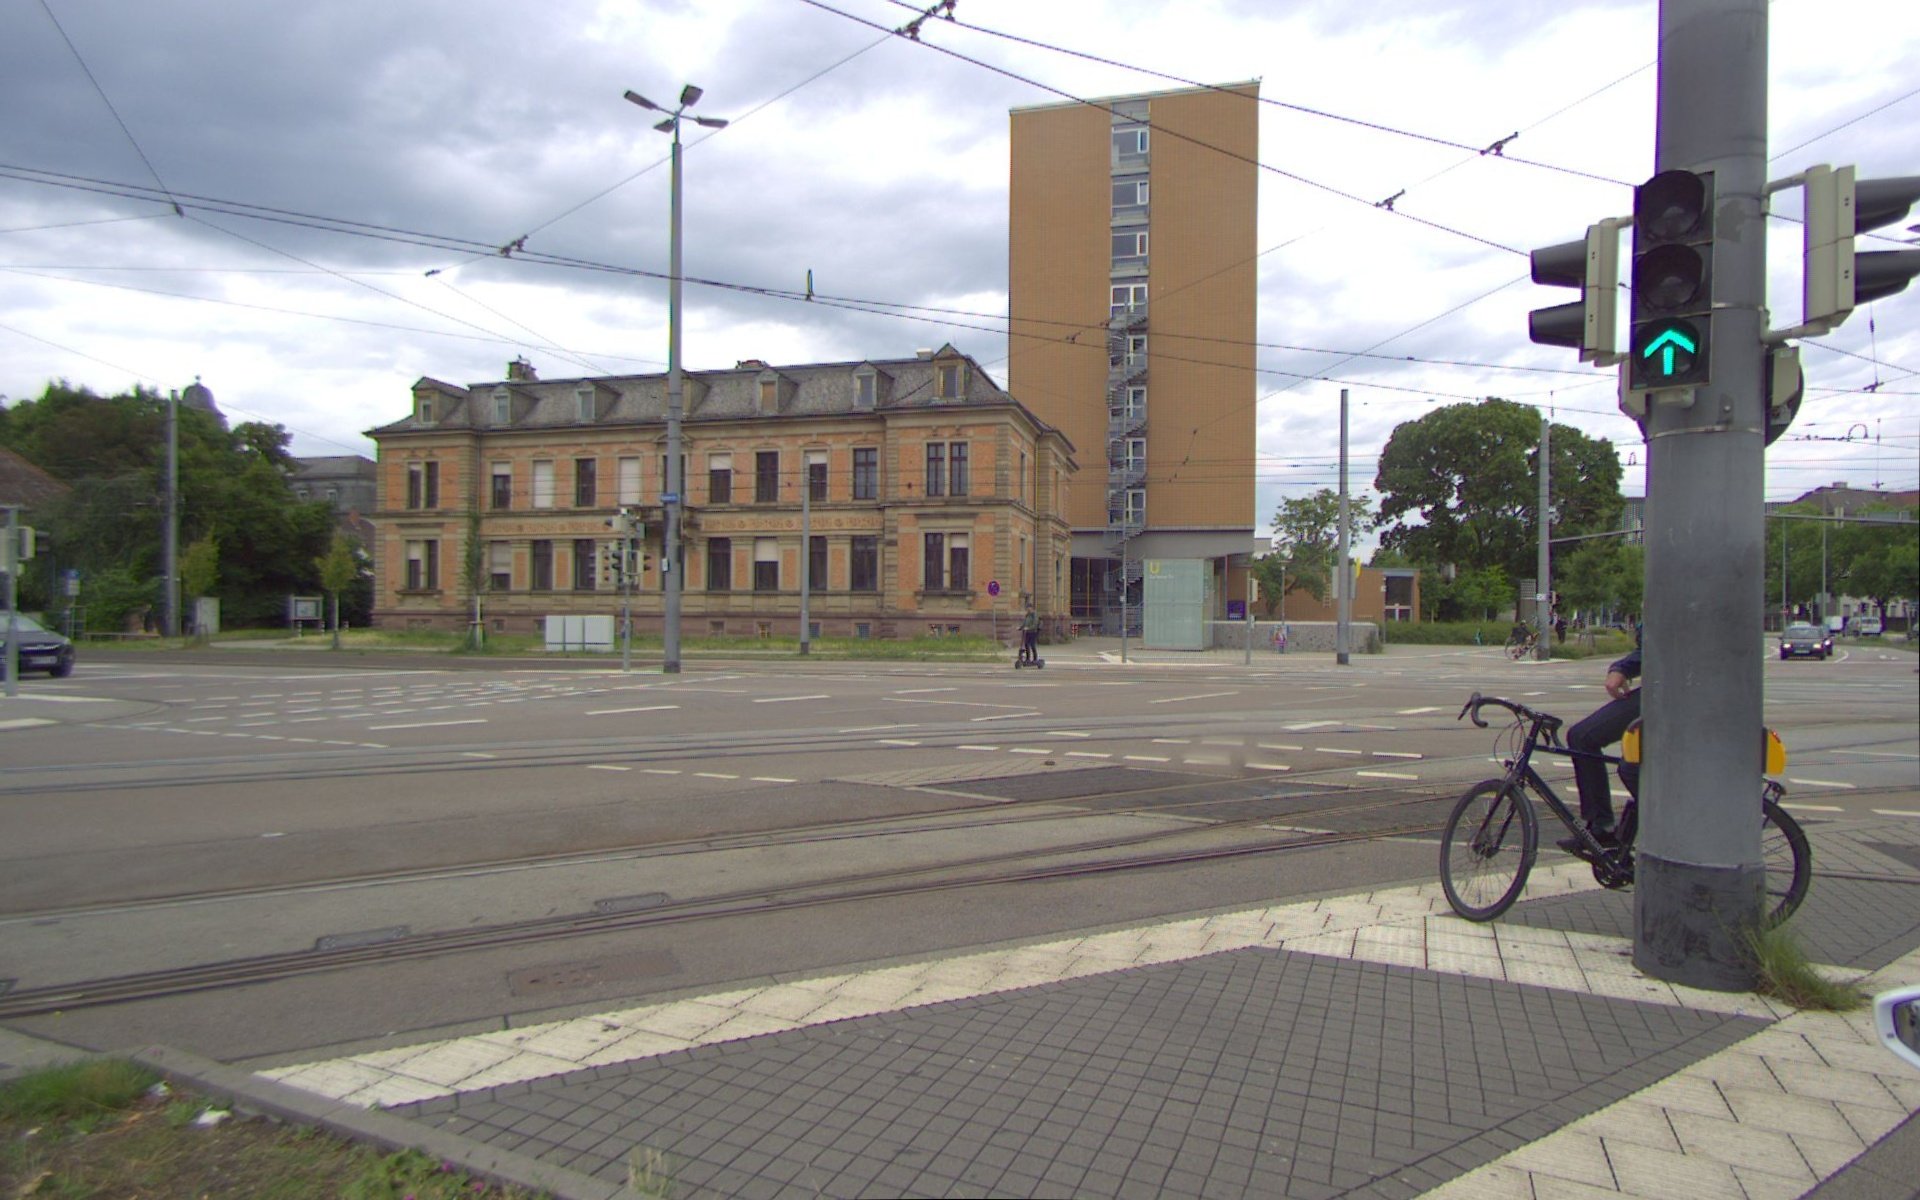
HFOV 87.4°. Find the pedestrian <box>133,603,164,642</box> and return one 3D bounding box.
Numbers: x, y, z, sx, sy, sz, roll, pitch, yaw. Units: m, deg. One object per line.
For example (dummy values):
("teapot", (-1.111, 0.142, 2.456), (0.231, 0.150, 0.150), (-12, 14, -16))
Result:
("pedestrian", (-39.752, 1.102, 49.217), (0.832, 1.857, 0.810), (0, 0, 10))

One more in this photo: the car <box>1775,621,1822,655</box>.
("car", (38.956, 1.750, 46.660), (1.600, 1.535, 3.646), (-2, -2, 41))

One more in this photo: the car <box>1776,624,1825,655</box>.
("car", (44.188, 2.058, 52.764), (1.849, 1.527, 4.456), (-3, -3, 41))

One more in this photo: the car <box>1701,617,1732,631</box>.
("car", (102.518, 3.265, 136.129), (1.960, 1.773, 4.002), (0, -1, 15))

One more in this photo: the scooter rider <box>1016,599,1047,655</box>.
("scooter rider", (2.124, 0.805, 29.981), (0.807, 1.649, 0.568), (0, -1, -9))

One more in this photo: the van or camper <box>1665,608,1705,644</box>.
("van or camper", (53.557, 1.920, 74.255), (2.249, 2.561, 5.554), (-1, -2, 36))

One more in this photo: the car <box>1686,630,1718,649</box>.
("car", (70.946, 3.759, 96.081), (1.843, 1.748, 4.704), (-1, -2, 29))

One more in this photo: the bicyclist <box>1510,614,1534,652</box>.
("bicyclist", (25.799, 1.492, 46.097), (0.804, 1.679, 0.789), (1, 3, 44))

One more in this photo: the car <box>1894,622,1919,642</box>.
("car", (78.811, 2.639, 82.510), (1.963, 1.559, 3.995), (0, -1, 27))

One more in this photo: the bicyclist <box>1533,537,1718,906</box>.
("bicyclist", (3.197, 0.551, 4.876), (0.642, 1.661, 0.518), (0, -1, 21))

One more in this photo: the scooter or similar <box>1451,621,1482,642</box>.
("scooter or similar", (31.919, 1.971, 63.312), (1.744, 1.319, 0.629), (0, -1, 29))

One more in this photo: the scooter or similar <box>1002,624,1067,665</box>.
("scooter or similar", (2.218, 1.325, 29.986), (1.872, 1.180, 0.573), (1, -1, -9))

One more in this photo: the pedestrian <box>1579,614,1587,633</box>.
("pedestrian", (53.378, 1.999, 86.044), (0.554, 1.562, 0.752), (0, -1, 36))

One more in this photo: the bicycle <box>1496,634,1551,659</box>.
("bicycle", (25.845, 2.110, 46.099), (2.091, 1.042, 0.790), (0, 2, 44))

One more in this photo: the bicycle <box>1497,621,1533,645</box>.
("bicycle", (35.005, 2.096, 63.356), (2.224, 1.468, 0.844), (1, -1, -25))

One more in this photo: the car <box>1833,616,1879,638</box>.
("car", (85.534, 2.599, 95.951), (1.961, 2.040, 3.999), (0, -1, 21))

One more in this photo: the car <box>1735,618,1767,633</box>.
("car", (92.509, 2.996, 117.509), (1.962, 1.662, 3.997), (0, -1, 24))

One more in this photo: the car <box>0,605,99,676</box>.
("car", (-23.962, 0.950, 24.816), (4.159, 1.632, 2.001), (0, -1, 13))

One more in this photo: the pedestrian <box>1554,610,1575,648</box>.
("pedestrian", (32.536, 1.545, 54.027), (0.654, 2.007, 0.811), (0, -1, -44))

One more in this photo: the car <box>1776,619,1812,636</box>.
("car", (92.919, 3.073, 111.972), (1.962, 1.773, 3.998), (0, -1, 23))

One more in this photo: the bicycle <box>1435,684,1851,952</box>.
("bicycle", (3.200, 0.984, 4.869), (1.583, 1.084, 0.528), (0, -1, 21))

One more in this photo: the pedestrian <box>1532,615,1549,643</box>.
("pedestrian", (36.849, 1.827, 63.780), (0.681, 1.757, 0.739), (0, -1, -44))
